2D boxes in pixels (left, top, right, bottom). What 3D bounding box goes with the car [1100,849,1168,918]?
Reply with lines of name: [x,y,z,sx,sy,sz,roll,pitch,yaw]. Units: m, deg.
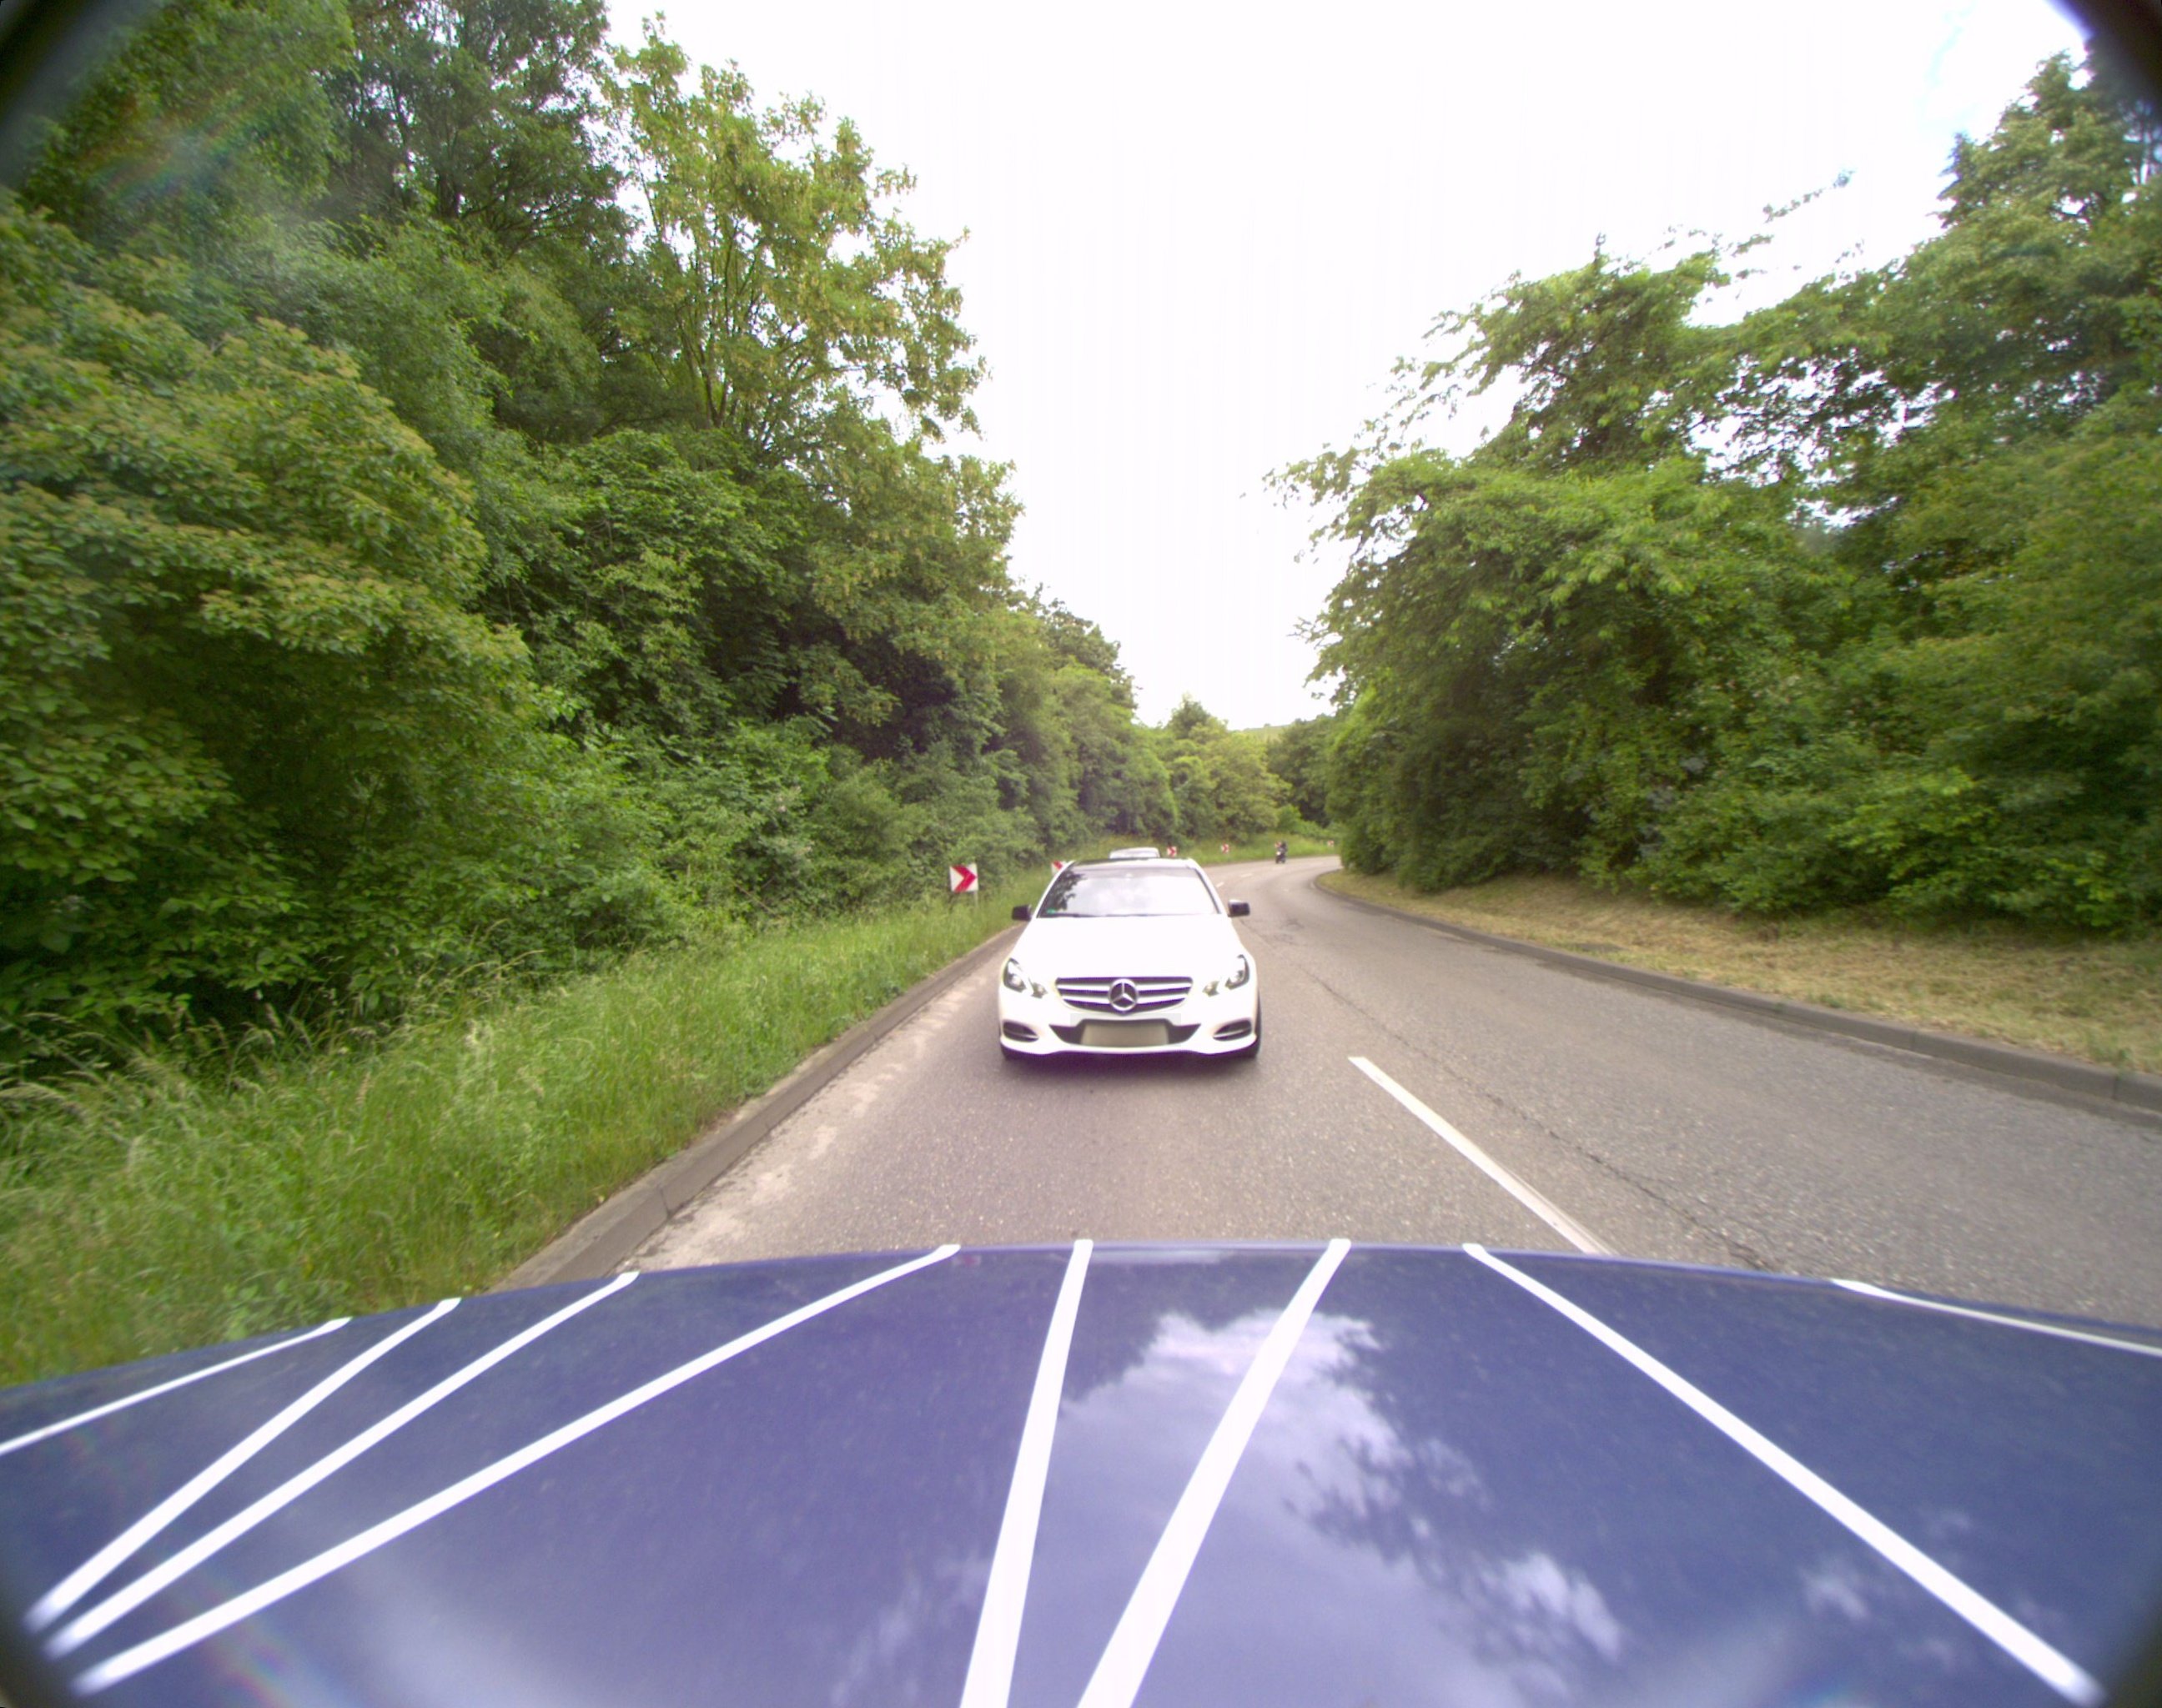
car: [1.490,0.692,20.183,1.552,1.635,3.742,0,1,8]

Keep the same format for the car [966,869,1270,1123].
car: [0.433,0.904,6.842,1.865,1.423,4.357,0,0,6]

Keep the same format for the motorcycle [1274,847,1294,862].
motorcycle: [14.503,0.038,54.324,0.676,1.006,1.678,4,4,42]

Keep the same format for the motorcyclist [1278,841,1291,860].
motorcyclist: [14.551,-0.249,54.361,0.565,1.288,0.708,4,4,42]
